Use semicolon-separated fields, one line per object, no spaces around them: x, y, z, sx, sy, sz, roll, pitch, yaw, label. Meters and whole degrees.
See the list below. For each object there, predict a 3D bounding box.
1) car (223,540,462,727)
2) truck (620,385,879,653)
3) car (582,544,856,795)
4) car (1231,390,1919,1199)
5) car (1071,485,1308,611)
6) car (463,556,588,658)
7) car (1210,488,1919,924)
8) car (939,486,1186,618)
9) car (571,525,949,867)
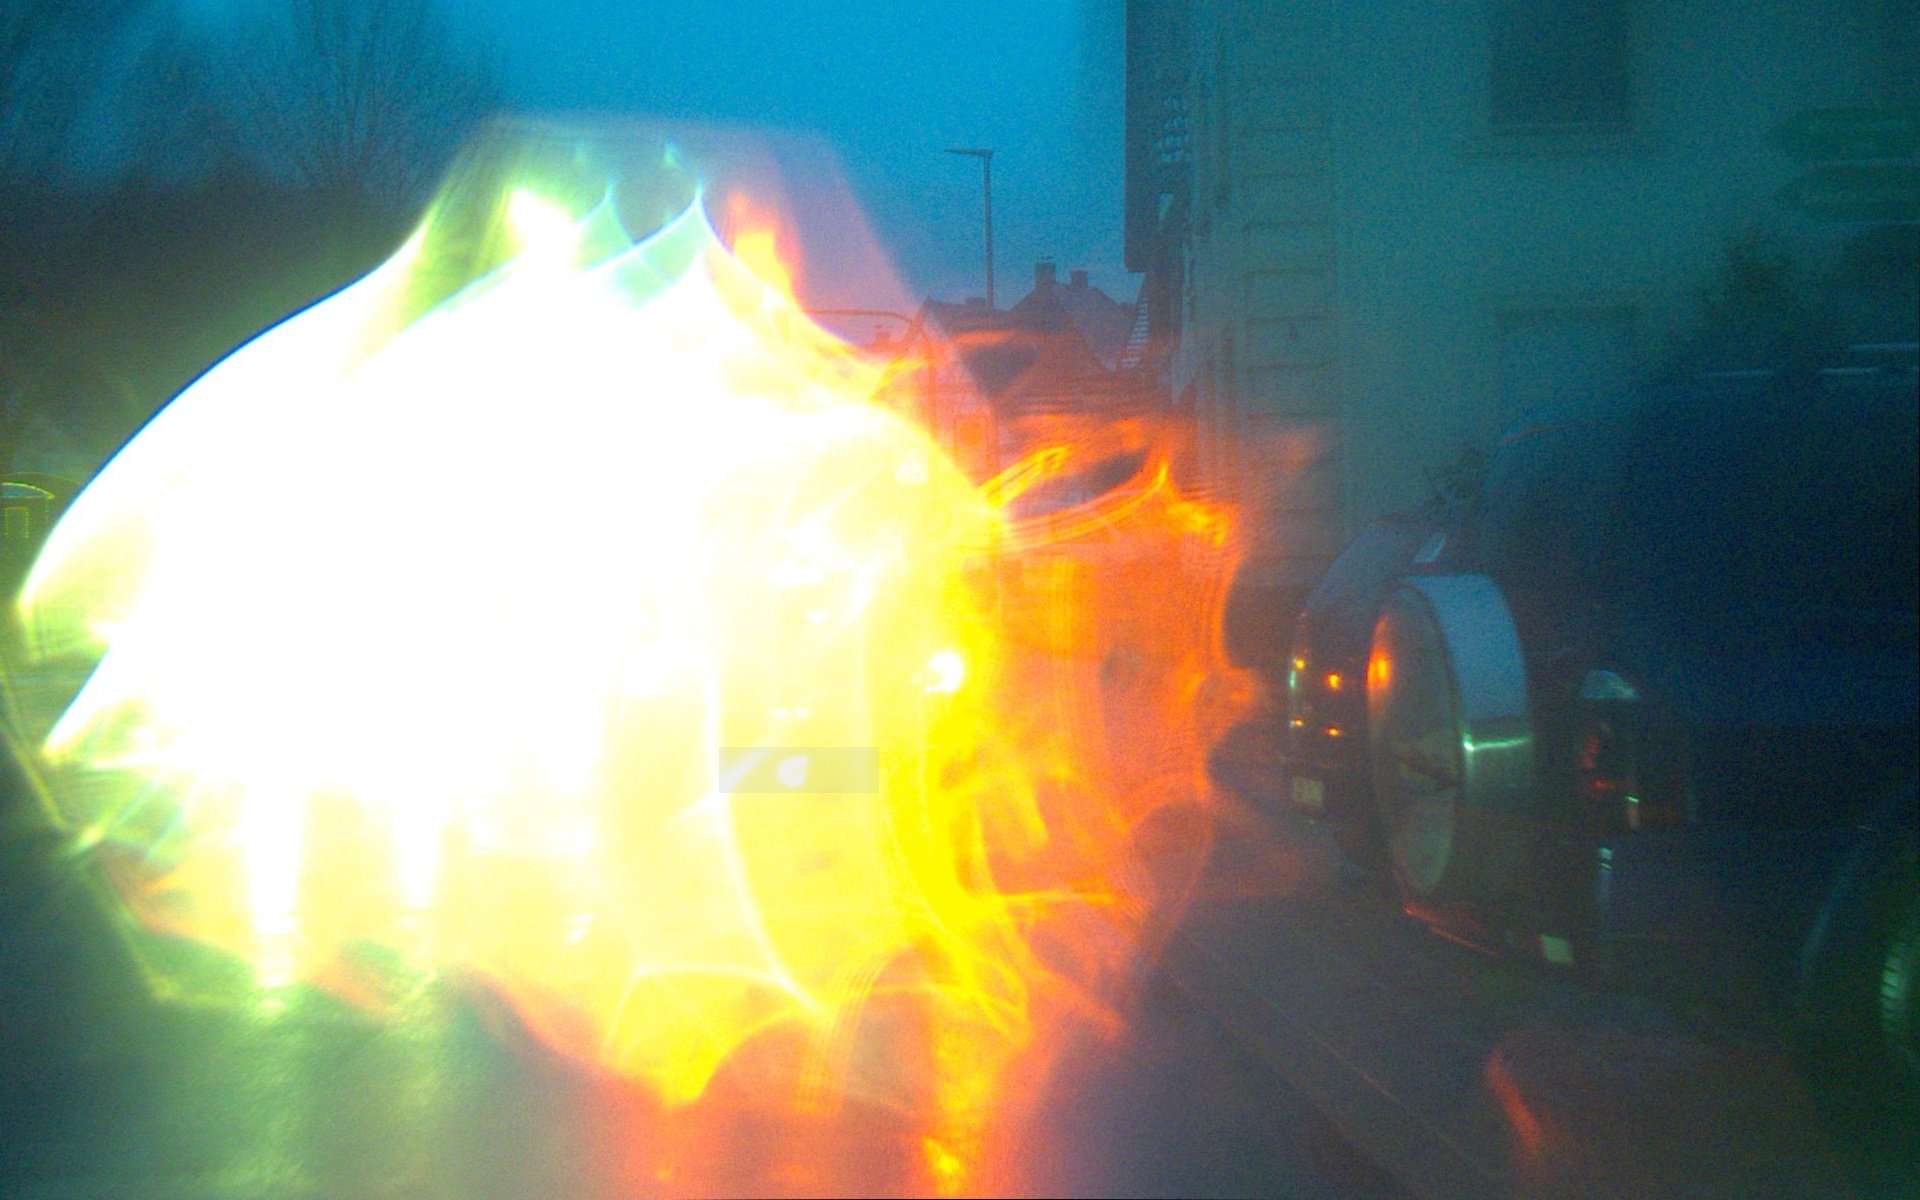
-5.363;0.248;30.192;1.638;1.530;3.407;-1;1;-3;car
-2.837;-1.036;44.229;3.015;3.118;8.002;0;1;-5;truck
-1.528;0.389;22.272;1.638;1.476;3.272;0;1;-3;car
3.163;0.364;8.620;4.602;1.769;1.946;-2;1;-7;car
4.058;-0.928;60.836;4.098;2.144;1.913;-1;1;4;car
-7.363;0.083;58.594;1.810;1.590;4.400;-1;1;-3;car
3.119;0.361;14.040;3.869;1.574;1.682;-2;1;-8;car
1.772;-0.823;58.434;4.098;2.155;1.913;-1;1;4;car
-0.955;0.388;16.606;1.638;1.476;3.379;0;1;-3;car
